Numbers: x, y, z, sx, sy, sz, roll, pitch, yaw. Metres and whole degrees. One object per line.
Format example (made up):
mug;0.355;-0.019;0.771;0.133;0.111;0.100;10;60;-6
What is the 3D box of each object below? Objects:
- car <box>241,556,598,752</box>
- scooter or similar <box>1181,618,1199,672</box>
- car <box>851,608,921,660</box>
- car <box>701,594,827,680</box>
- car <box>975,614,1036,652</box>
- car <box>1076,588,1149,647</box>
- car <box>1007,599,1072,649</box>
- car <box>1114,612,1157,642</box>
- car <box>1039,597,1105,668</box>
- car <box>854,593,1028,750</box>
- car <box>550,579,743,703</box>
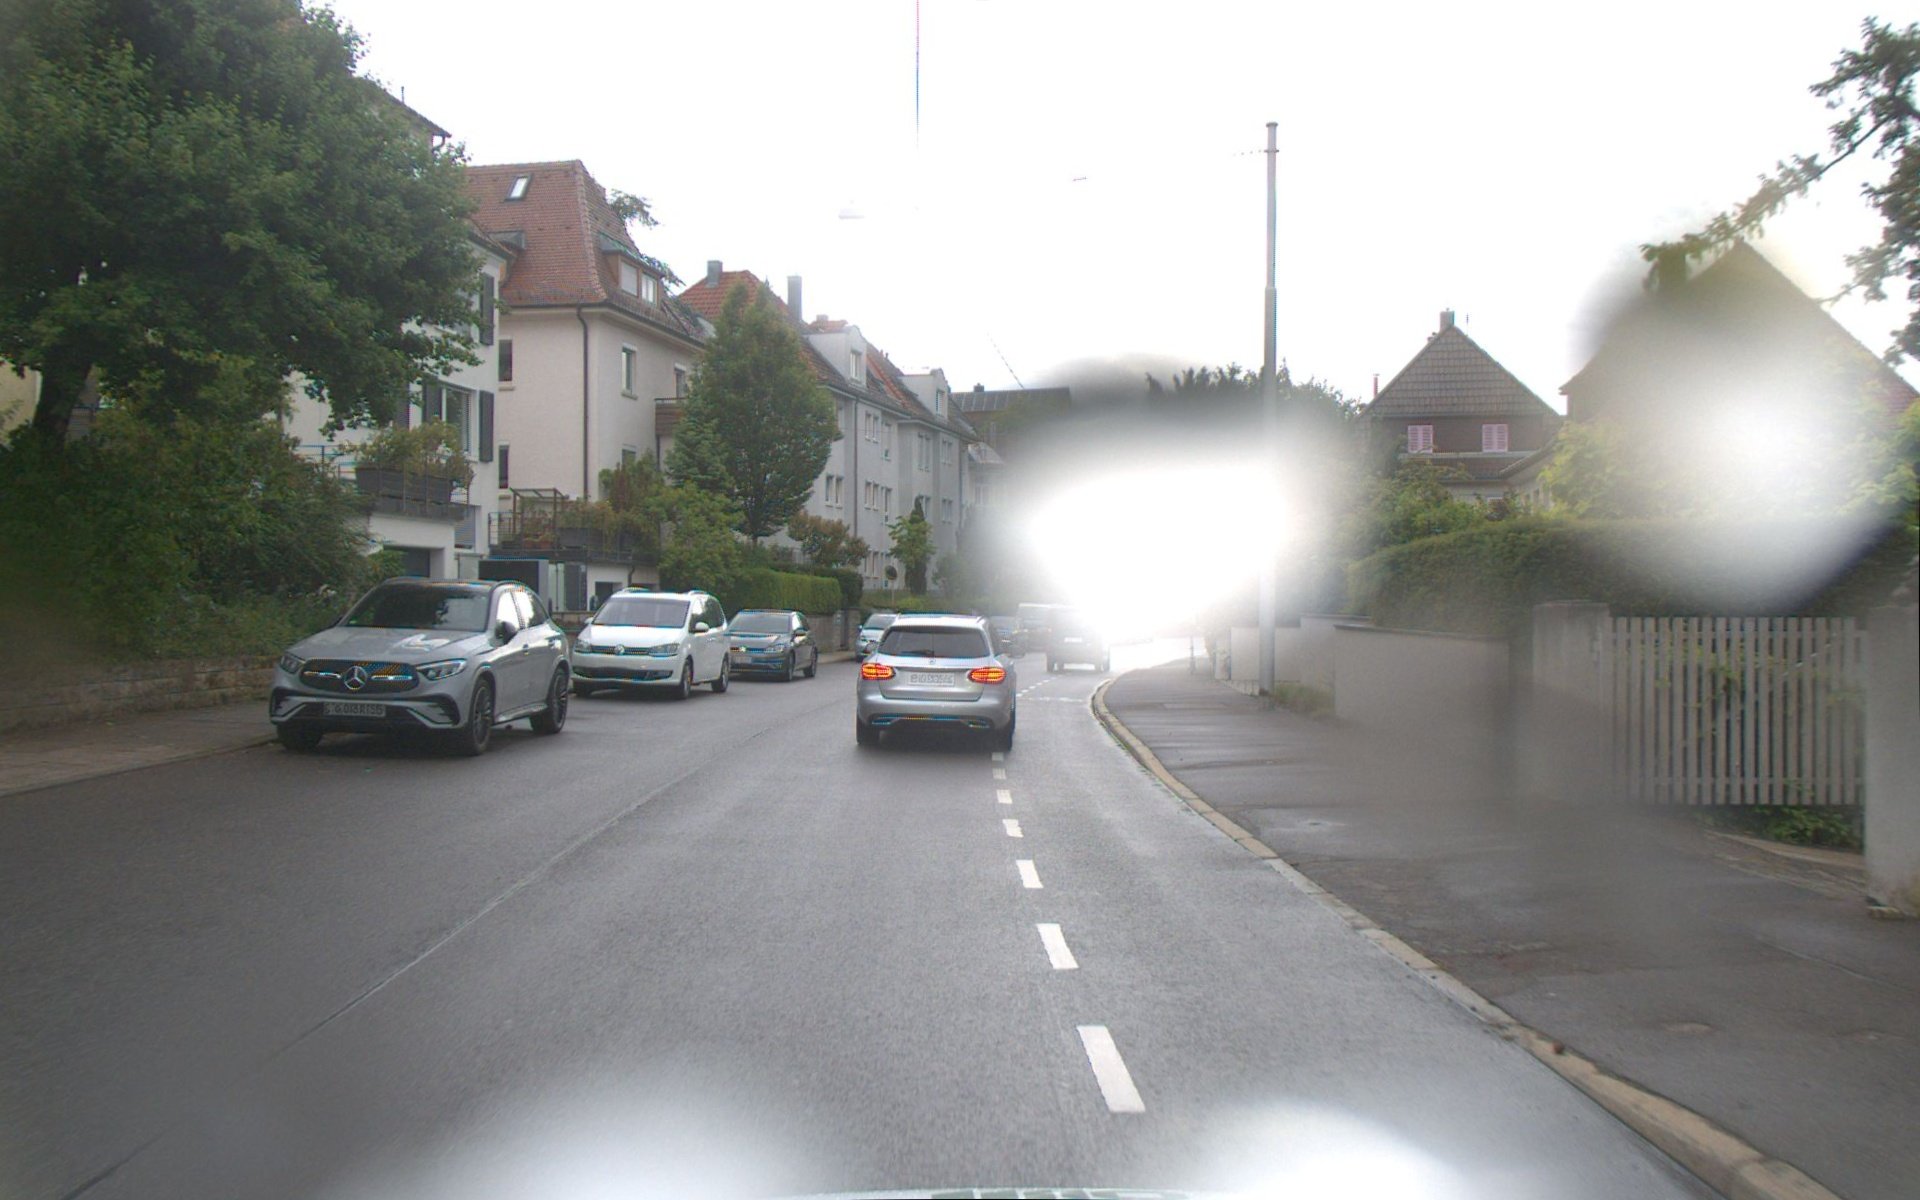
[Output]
car;-5.325;0.479;17.081;1.953;1.608;4.762;4;0;1
scooter or similar;5.814;1.127;41.809;0.440;1.330;1.482;0;-1;8
car;-2.239;1.035;50.825;1.571;1.512;3.489;2;-1;7
car;-4.137;0.759;35.570;1.754;1.608;4.141;4;0;5
car;1.910;1.347;68.176;1.608;1.442;4.616;2;0;13
car;8.056;0.858;86.744;2.341;2.820;6.535;2;1;18
car;3.576;1.067;73.383;1.790;2.092;5.013;2;-1;15
car;9.800;1.498;92.049;1.677;1.472;3.256;2;2;19
car;3.309;0.951;48.549;1.804;1.937;4.002;2;-1;5
car;-0.219;0.745;19.408;1.779;1.583;3.999;2;0;-1
car;-5.012;0.621;27.180;1.952;1.732;4.740;4;0;3
